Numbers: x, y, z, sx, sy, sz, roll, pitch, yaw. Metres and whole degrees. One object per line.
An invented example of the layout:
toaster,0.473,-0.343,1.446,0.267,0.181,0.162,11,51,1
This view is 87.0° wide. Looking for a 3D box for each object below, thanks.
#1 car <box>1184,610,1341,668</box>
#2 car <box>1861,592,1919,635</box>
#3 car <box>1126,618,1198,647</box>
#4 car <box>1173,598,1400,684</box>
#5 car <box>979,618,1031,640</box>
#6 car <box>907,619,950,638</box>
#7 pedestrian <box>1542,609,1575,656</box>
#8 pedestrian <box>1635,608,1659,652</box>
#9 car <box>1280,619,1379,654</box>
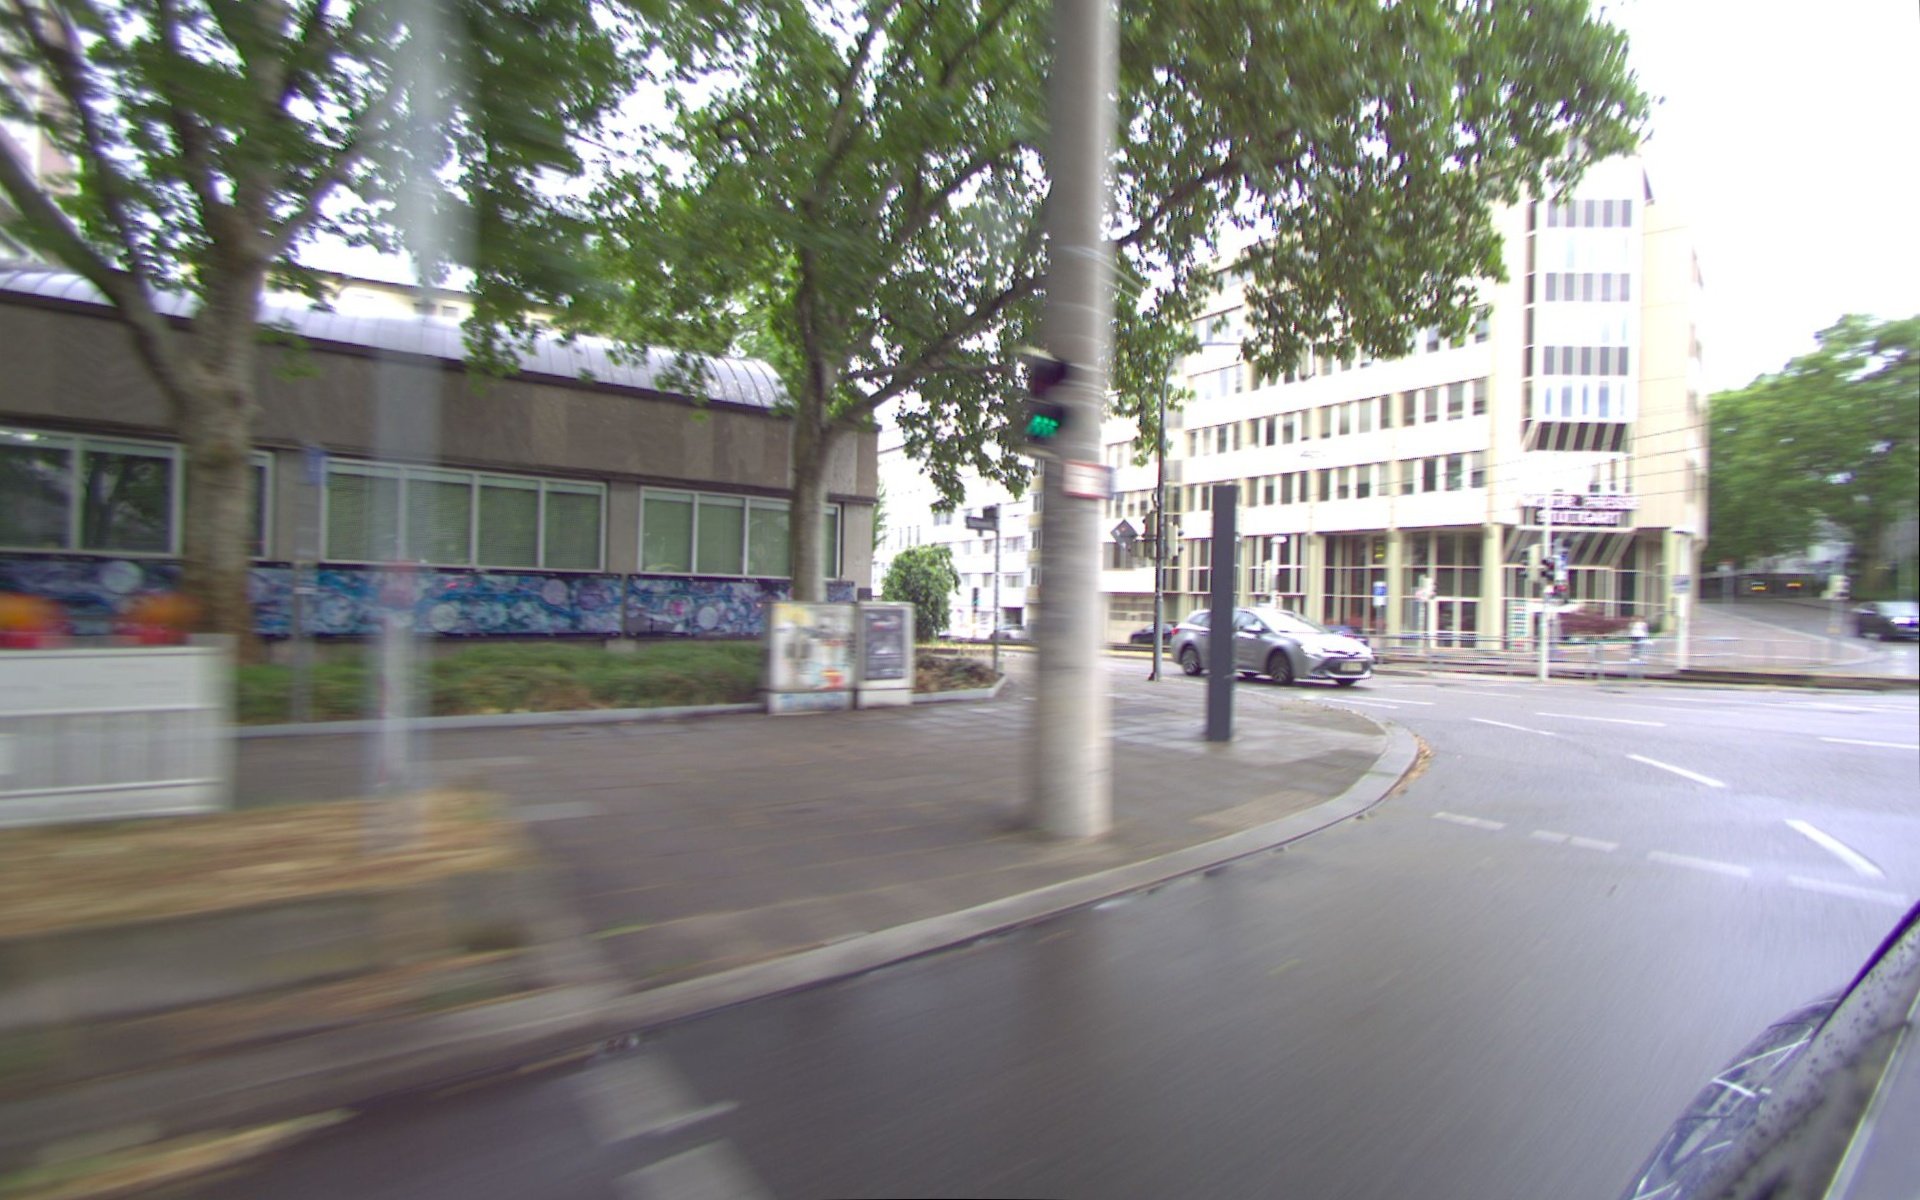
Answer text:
car,8.385,1.058,28.505,1.764,1.461,4.483,3,-2,-23
car,40.941,0.559,43.725,1.982,1.600,4.838,0,2,29
car,11.537,1.839,58.092,1.766,1.533,4.081,1,-1,-31
car,6.175,0.759,19.693,1.775,1.453,4.304,3,-2,-23
car,3.227,2.085,73.187,1.766,1.533,4.081,1,-1,-31
car,-2.614,2.326,83.247,1.852,1.533,4.081,1,-1,-31
pedestrian,23.604,1.266,39.912,0.744,1.809,0.833,0,0,-14
pedestrian,26.394,1.156,38.888,0.714,1.660,0.751,0,-1,32
car,17.273,1.672,47.466,1.765,1.496,4.221,4,-2,-29
